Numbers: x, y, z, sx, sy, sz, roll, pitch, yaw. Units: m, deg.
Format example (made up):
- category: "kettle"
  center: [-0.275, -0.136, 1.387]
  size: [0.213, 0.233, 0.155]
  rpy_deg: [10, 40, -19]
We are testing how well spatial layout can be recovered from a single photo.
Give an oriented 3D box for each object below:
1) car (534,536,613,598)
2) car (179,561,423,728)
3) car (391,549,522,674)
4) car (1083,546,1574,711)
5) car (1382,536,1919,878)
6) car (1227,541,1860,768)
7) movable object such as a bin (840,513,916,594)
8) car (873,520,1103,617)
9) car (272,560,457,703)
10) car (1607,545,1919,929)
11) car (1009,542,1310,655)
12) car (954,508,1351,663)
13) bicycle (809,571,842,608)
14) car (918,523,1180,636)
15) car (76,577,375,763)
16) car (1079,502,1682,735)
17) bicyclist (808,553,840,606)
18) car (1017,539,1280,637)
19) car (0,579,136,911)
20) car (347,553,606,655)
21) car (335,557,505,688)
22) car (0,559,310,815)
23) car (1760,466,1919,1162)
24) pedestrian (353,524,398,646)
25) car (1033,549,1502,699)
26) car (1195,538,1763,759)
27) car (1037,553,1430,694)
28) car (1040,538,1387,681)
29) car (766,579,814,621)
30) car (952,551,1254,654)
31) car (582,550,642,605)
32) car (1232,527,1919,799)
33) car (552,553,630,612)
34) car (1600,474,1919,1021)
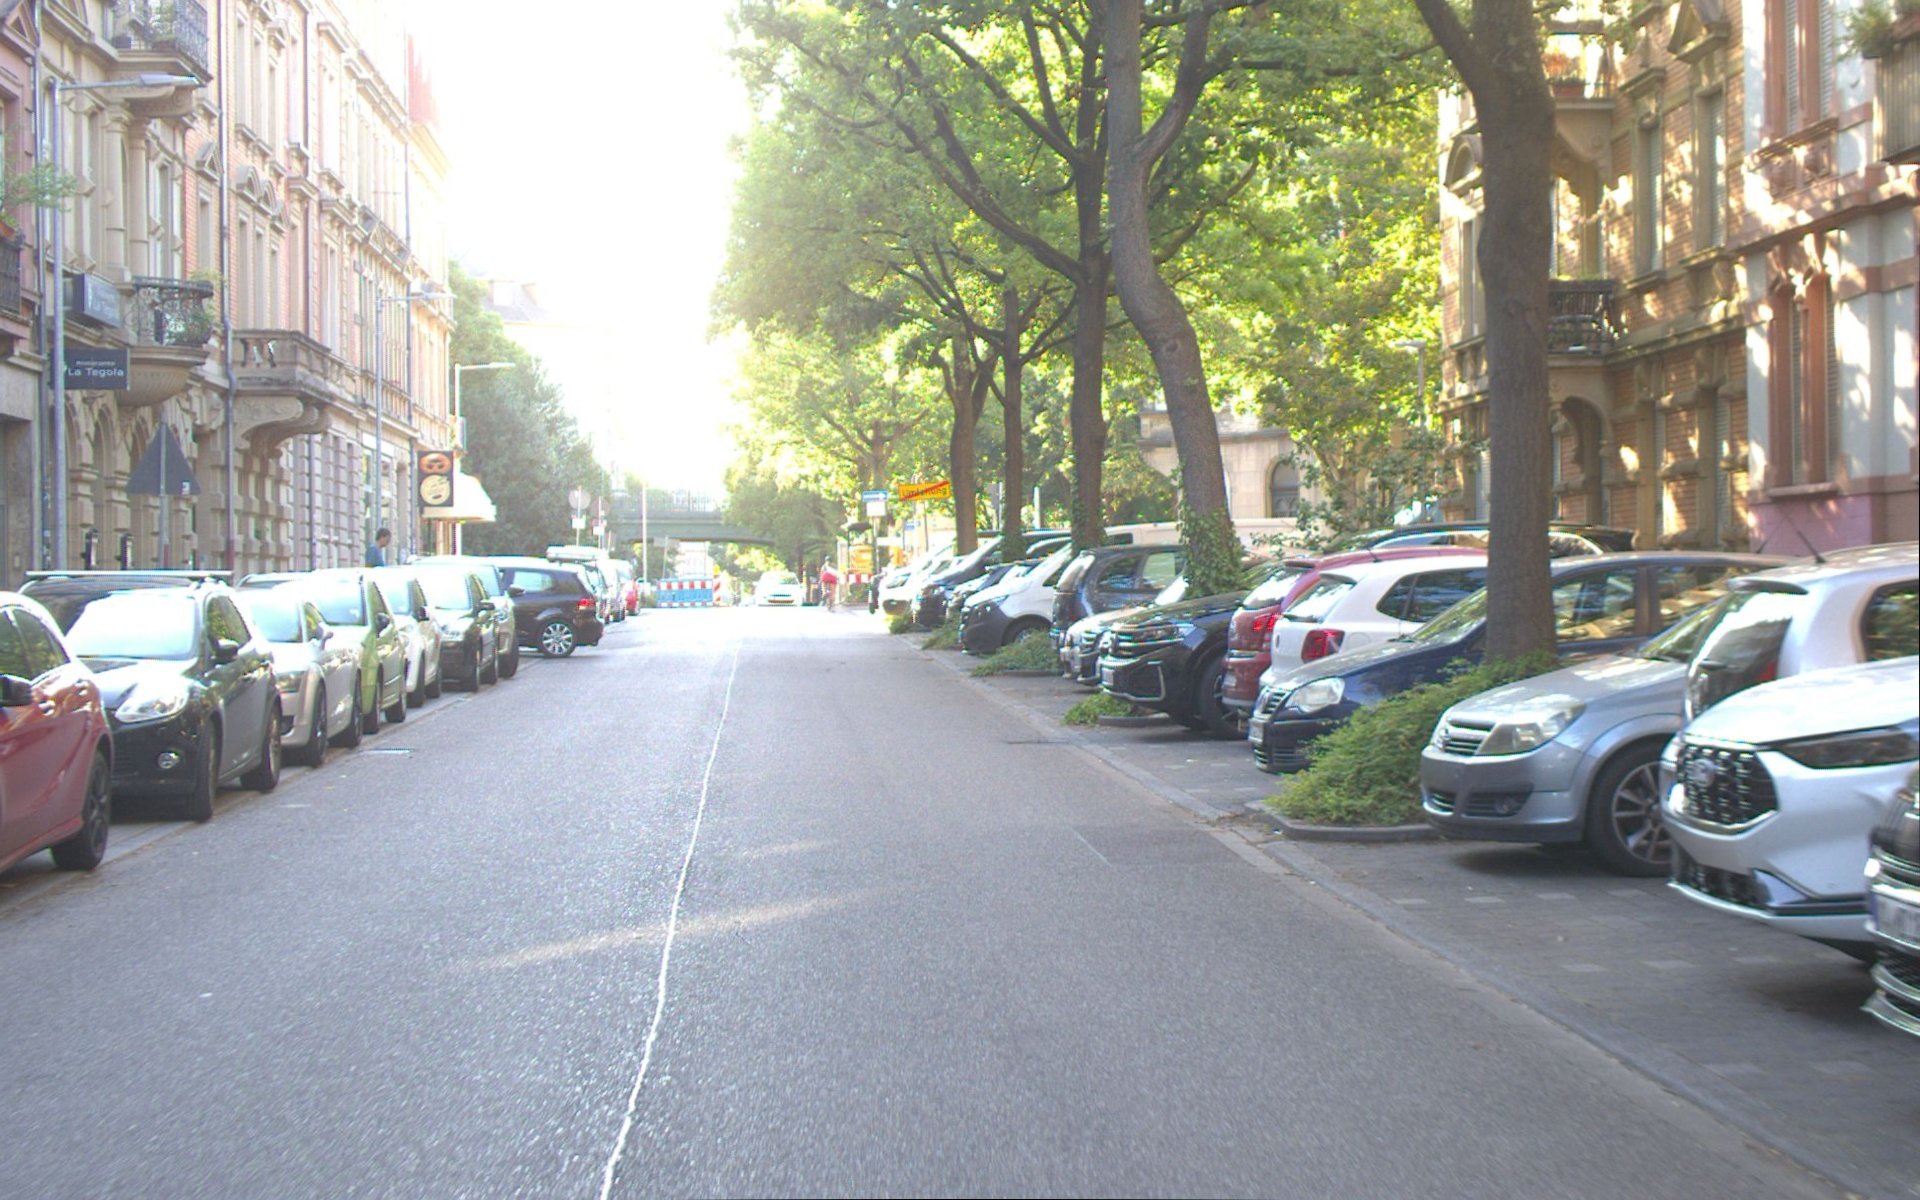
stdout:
- category: "car"
  center: [-9.288, -0.808, 82.907]
  size: [1.764, 1.432, 4.301]
  rpy_deg: [0, 1, -5]
- category: "car"
  center: [-6.102, 0.368, 32.219]
  size: [1.705, 1.434, 3.959]
  rpy_deg: [-1, 1, -3]
- category: "car"
  center: [-6.891, 0.128, 47.288]
  size: [1.647, 1.569, 4.050]
  rpy_deg: [2, 1, -8]
- category: "car"
  center: [3.557, 0.252, 33.781]
  size: [4.552, 1.524, 2.000]
  rpy_deg: [-1, 1, -2]
- category: "car"
  center: [4.317, 0.459, 16.609]
  size: [4.221, 1.530, 1.801]
  rpy_deg: [0, 1, -6]
- category: "car"
  center: [4.000, 0.346, 23.925]
  size: [3.986, 1.457, 1.783]
  rpy_deg: [-1, 1, -6]
- category: "movable object such as a bin"
  center: [-2.770, -1.548, 116.457]
  size: [1.994, 2.690, 3.109]
  rpy_deg: [0, 0, 10]
- category: "car"
  center: [0.599, -0.705, 76.389]
  size: [4.973, 2.089, 2.106]
  rpy_deg: [0, 1, -3]
- category: "car"
  center: [-6.567, 0.307, 38.227]
  size: [1.581, 1.468, 4.001]
  rpy_deg: [-1, 1, -4]
- category: "car"
  center: [4.909, 0.507, 14.199]
  size: [4.100, 1.464, 1.801]
  rpy_deg: [0, 1, -2]
- category: "car"
  center: [2.860, -0.038, 49.616]
  size: [3.986, 1.469, 1.782]
  rpy_deg: [-2, 1, -10]
- category: "car"
  center: [2.527, -0.176, 46.140]
  size: [5.091, 1.933, 2.158]
  rpy_deg: [0, -3, -3]
- category: "bicycle"
  center: [-3.607, -0.278, 91.870]
  size: [0.803, 0.965, 2.109]
  rpy_deg: [1, 0, -4]
- category: "car"
  center: [1.616, -0.394, 63.547]
  size: [4.614, 2.007, 2.000]
  rpy_deg: [-1, 1, -5]
- category: "car"
  center: [-5.794, 0.503, 27.550]
  size: [1.705, 1.318, 4.102]
  rpy_deg: [-1, 1, -3]
- category: "car"
  center: [3.463, 0.129, 28.803]
  size: [4.644, 1.696, 1.882]
  rpy_deg: [-2, 1, -6]
- category: "bicyclist"
  center: [-3.638, -0.548, 91.816]
  size: [0.803, 1.379, 0.985]
  rpy_deg: [1, 0, -4]
- category: "car"
  center: [3.025, -0.207, 55.830]
  size: [4.081, 1.492, 1.843]
  rpy_deg: [-1, 1, -3]
- category: "car"
  center: [-5.190, 0.629, 16.142]
  size: [1.821, 1.421, 4.314]
  rpy_deg: [1, 1, -3]
- category: "car"
  center: [-7.687, 0.044, 54.629]
  size: [3.986, 1.524, 1.826]
  rpy_deg: [-1, 1, -9]
- category: "car"
  center: [-6.612, 0.237, 42.421]
  size: [1.647, 1.468, 4.001]
  rpy_deg: [2, 1, -4]
- category: "car"
  center: [-5.506, 0.495, 22.681]
  size: [1.821, 1.472, 4.424]
  rpy_deg: [1, 1, -3]
- category: "car"
  center: [4.502, 0.503, 8.711]
  size: [4.475, 1.650, 1.891]
  rpy_deg: [0, -1, -1]
- category: "pedestrian"
  center: [-9.036, -0.235, 53.141]
  size: [0.638, 1.881, 0.592]
  rpy_deg: [-1, 1, -13]
- category: "car"
  center: [3.223, 0.230, 36.564]
  size: [4.658, 1.498, 1.933]
  rpy_deg: [-1, 1, -6]
- category: "car"
  center: [3.951, 0.342, 26.523]
  size: [3.986, 1.585, 1.783]
  rpy_deg: [-1, 1, -6]
- category: "car"
  center: [3.038, 0.243, 38.658]
  size: [4.104, 1.498, 1.811]
  rpy_deg: [-1, 1, -7]
- category: "car"
  center: [3.035, 0.095, 41.521]
  size: [3.883, 1.643, 1.725]
  rpy_deg: [-1, 1, -8]
- category: "car"
  center: [-6.387, -0.013, 129.168]
  size: [1.749, 1.504, 4.001]
  rpy_deg: [0, 1, -3]
- category: "car"
  center: [2.121, 0.023, 51.890]
  size: [4.369, 1.450, 1.934]
  rpy_deg: [-1, 1, -3]
- category: "car"
  center: [-9.956, -0.643, 98.450]
  size: [1.669, 1.525, 4.001]
  rpy_deg: [0, 0, -6]
- category: "car"
  center: [3.810, 0.354, 21.201]
  size: [3.986, 1.383, 1.678]
  rpy_deg: [-3, 1, -4]
- category: "car"
  center: [-9.430, -0.466, 88.130]
  size: [1.725, 1.432, 3.996]
  rpy_deg: [2, 1, -3]
- category: "car"
  center: [4.594, 0.445, 11.494]
  size: [4.475, 1.650, 1.892]
  rpy_deg: [0, -1, -4]
